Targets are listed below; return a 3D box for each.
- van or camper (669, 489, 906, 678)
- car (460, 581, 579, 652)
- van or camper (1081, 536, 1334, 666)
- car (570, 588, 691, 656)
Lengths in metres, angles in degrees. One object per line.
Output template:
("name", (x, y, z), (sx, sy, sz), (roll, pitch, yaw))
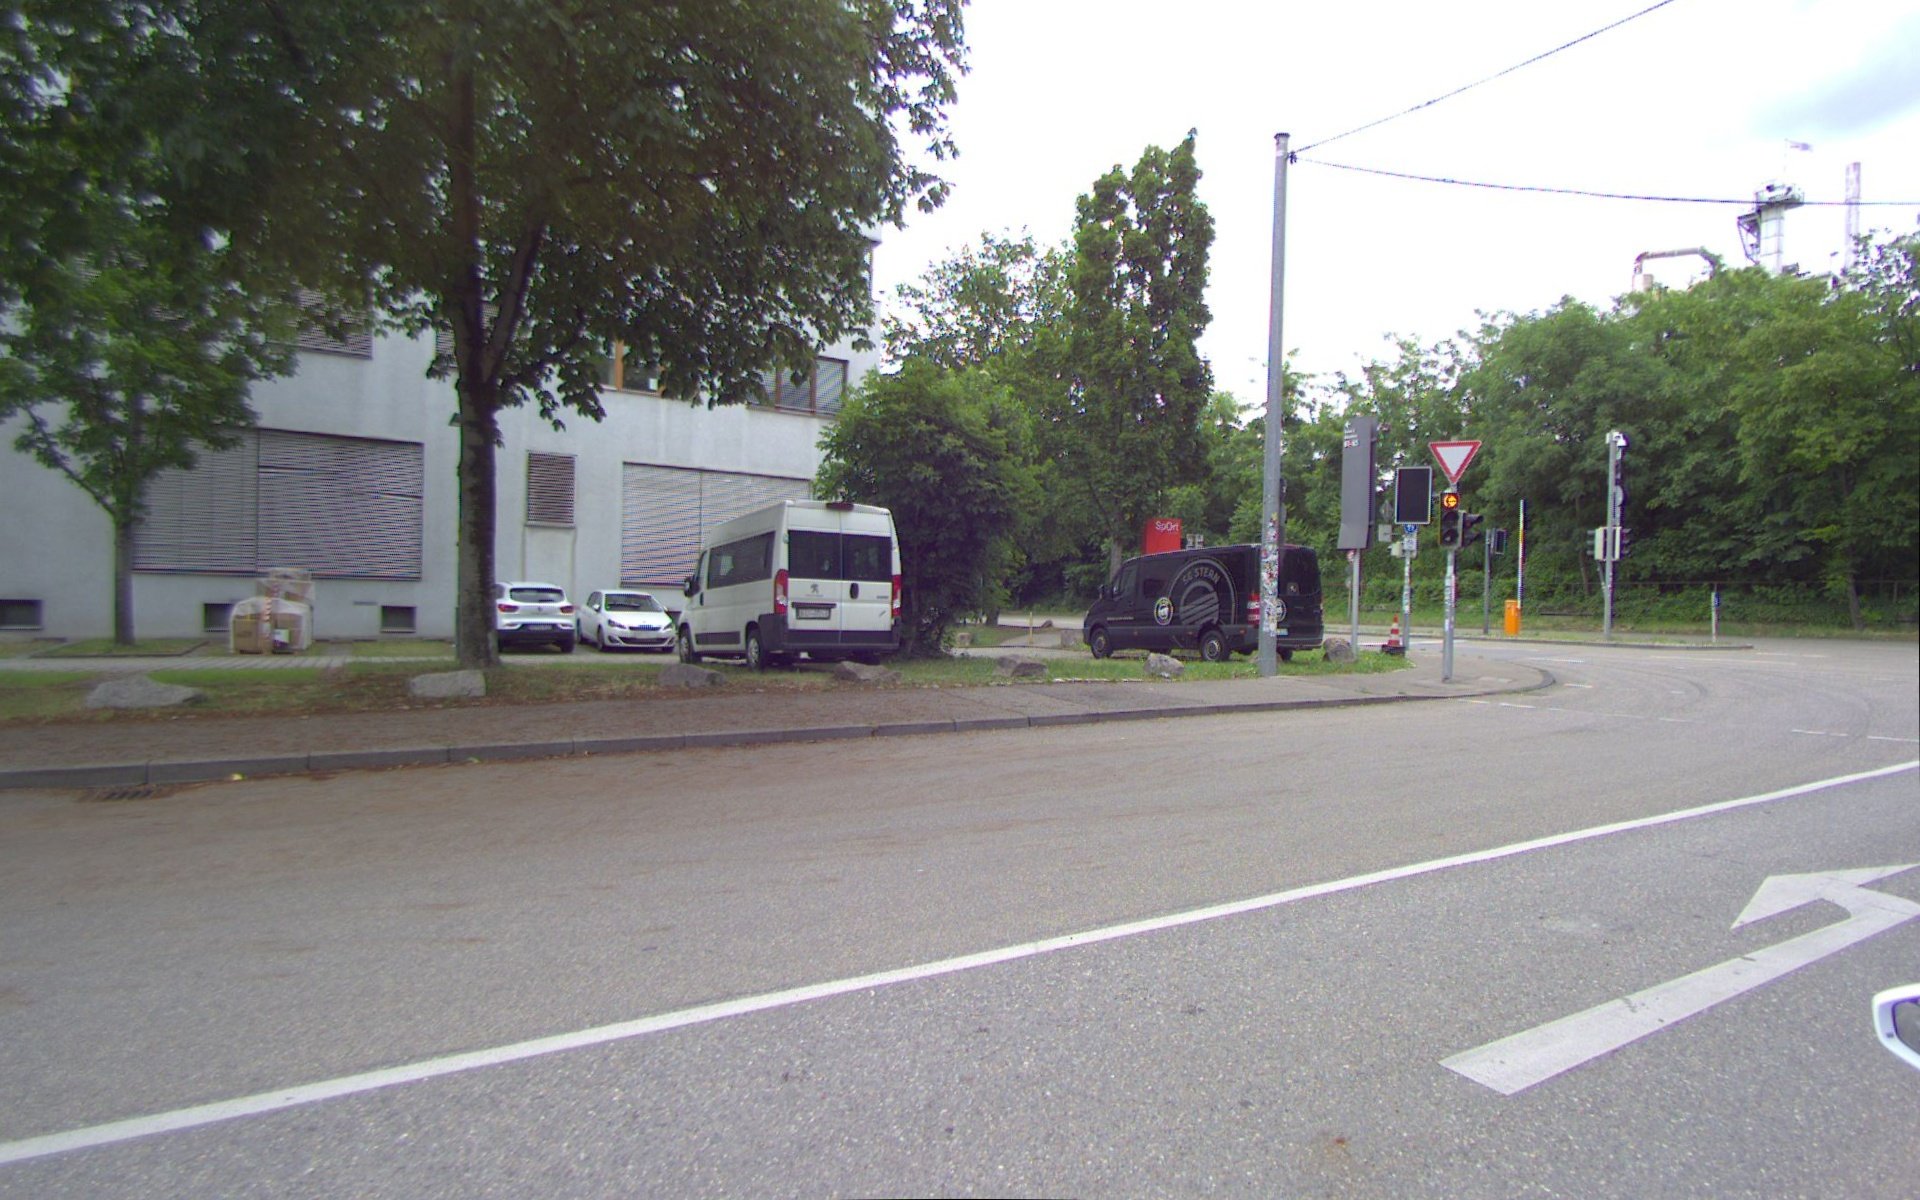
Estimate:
("van or camper", (-3.017, -0.244, 16.492), (2.039, 2.604, 4.943), (3, 0, -32))
("car", (-10.577, 0.353, 23.980), (1.881, 1.475, 3.972), (3, 0, -34))
("van or camper", (5.007, 0.122, 21.261), (2.036, 2.343, 5.513), (3, -3, -28))
("car", (-8.464, 0.522, 25.612), (1.881, 1.475, 3.972), (3, 0, -34))
